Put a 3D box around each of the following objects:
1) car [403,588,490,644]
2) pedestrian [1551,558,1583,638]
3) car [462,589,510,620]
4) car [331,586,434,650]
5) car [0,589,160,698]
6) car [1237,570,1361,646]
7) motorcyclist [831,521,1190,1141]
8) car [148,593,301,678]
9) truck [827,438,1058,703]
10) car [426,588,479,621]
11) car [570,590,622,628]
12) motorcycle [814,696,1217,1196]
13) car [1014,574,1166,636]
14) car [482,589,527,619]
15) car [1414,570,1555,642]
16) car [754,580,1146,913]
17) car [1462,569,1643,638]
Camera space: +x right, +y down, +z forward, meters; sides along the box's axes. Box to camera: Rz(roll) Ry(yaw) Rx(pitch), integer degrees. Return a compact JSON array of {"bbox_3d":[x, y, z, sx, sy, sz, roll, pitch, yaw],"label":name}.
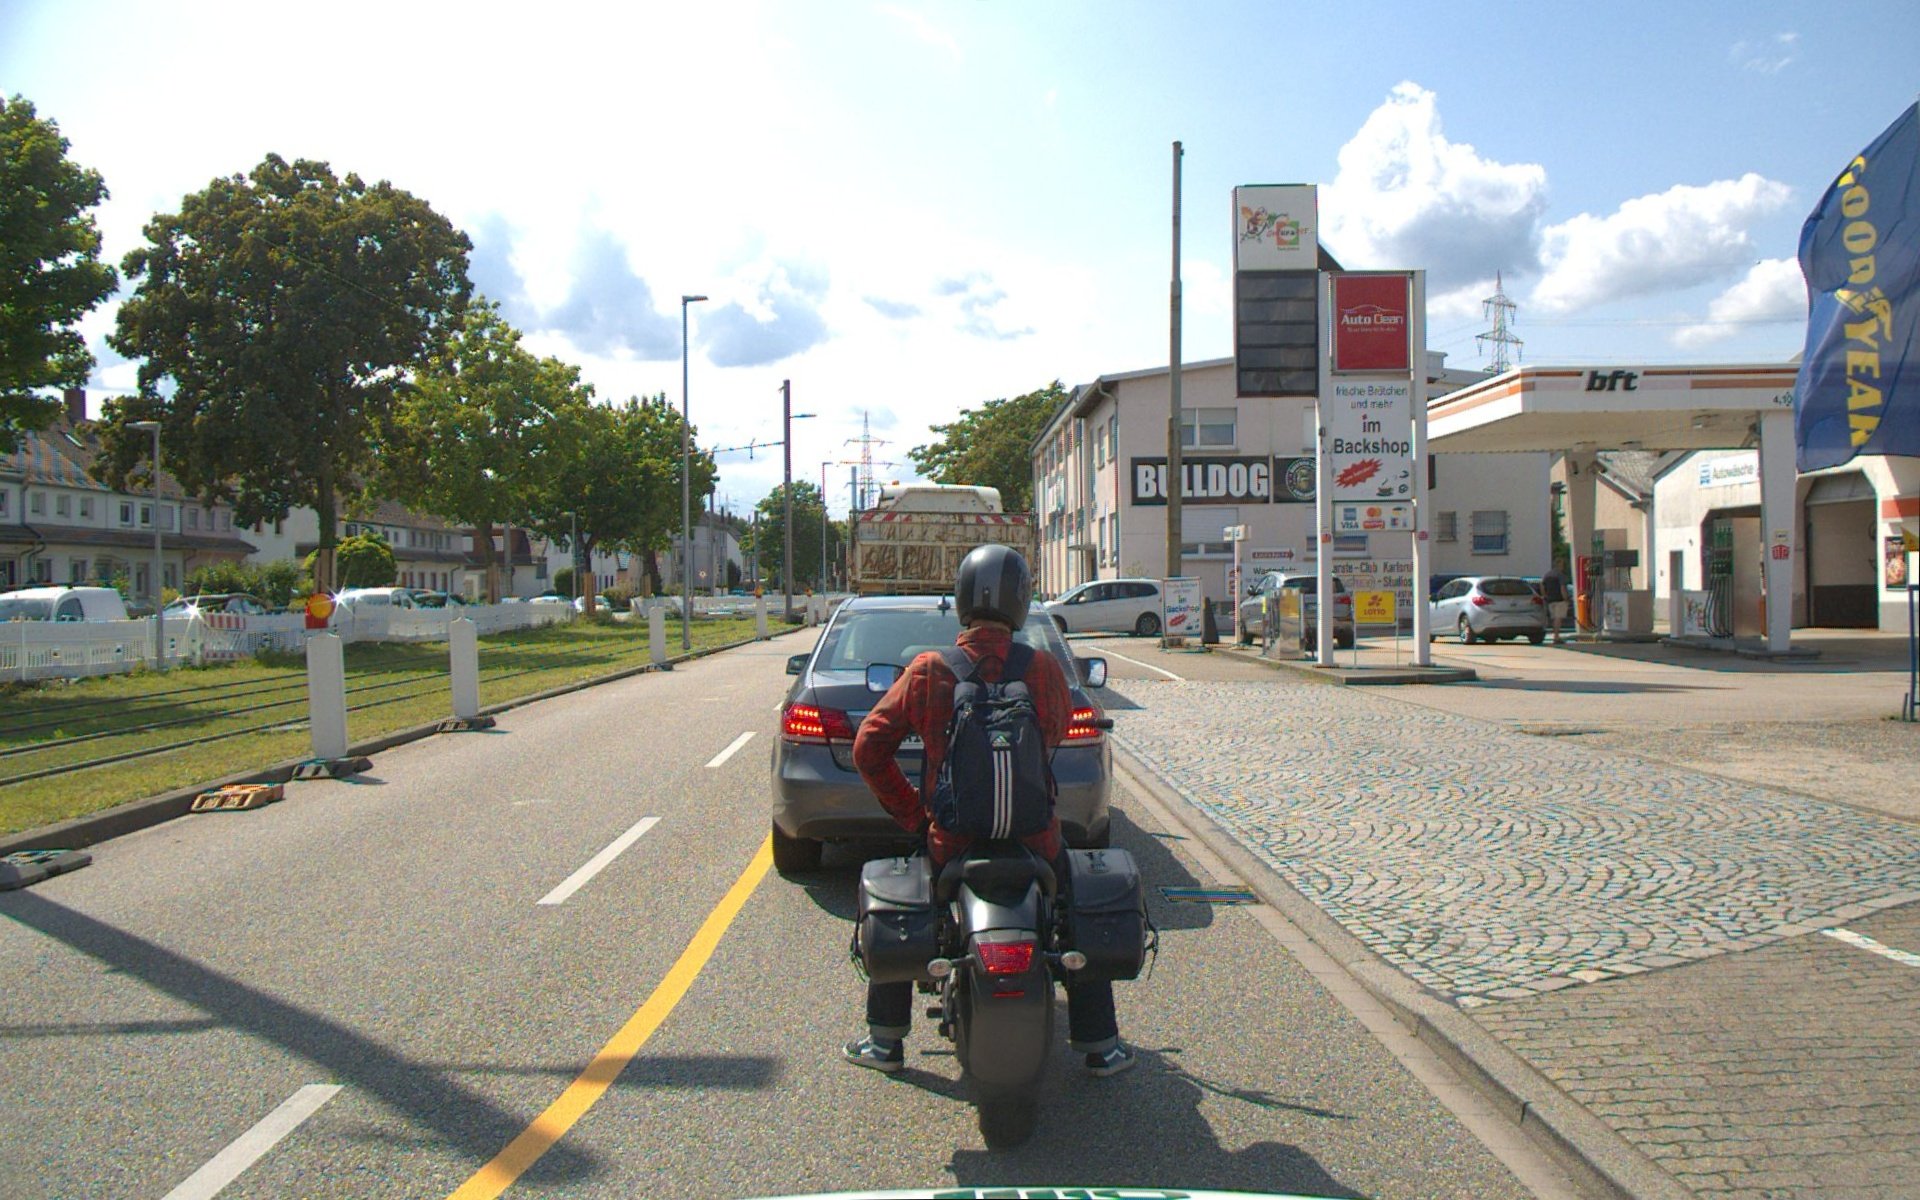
[{"bbox_3d":[-17.019,0.499,54.974,1.664,1.770,3.860,-1,0,-1],"label":"car"},{"bbox_3d":[13.110,-0.043,35.717,0.621,1.712,0.622,-1,0,20],"label":"pedestrian"},{"bbox_3d":[-28.059,0.262,97.925,1.664,1.770,4.061,-1,0,-1],"label":"car"},{"bbox_3d":[-16.912,0.495,48.609,1.664,1.770,3.860,-1,0,-1],"label":"car"},{"bbox_3d":[-16.417,0.745,30.287,1.664,1.849,3.860,-1,0,-1],"label":"car"},{"bbox_3d":[7.481,0.143,36.811,1.795,1.562,4.008,-1,0,-2],"label":"car"},{"bbox_3d":[0.129,0.620,5.069,0.950,1.662,1.214,1,0,-1],"label":"motorcyclist"},{"bbox_3d":[-16.672,0.759,37.711,1.664,1.770,4.053,-1,0,-1],"label":"car"},{"bbox_3d":[-0.356,-0.419,25.462,2.910,3.362,8.404,-1,0,-2],"label":"truck"},{"bbox_3d":[-28.180,0.245,91.929,1.664,1.770,4.061,-1,0,-1],"label":"car"},{"bbox_3d":[-17.445,0.407,79.457,1.664,1.770,3.860,-1,0,-1],"label":"car"},{"bbox_3d":[0.118,0.903,5.187,0.956,1.031,2.431,1,0,-1],"label":"motorcycle"},{"bbox_3d":[3.671,0.120,47.077,4.029,1.652,1.682,-1,0,-9],"label":"car"},{"bbox_3d":[-28.663,0.231,104.141,1.664,1.770,4.061,-1,0,-1],"label":"car"},{"bbox_3d":[11.773,0.105,37.413,1.795,1.505,4.008,-1,0,-2],"label":"car"},{"bbox_3d":[-0.106,0.663,9.713,1.795,1.505,4.008,-1,0,-2],"label":"car"},{"bbox_3d":[14.918,0.090,41.711,4.031,1.652,1.682,-1,0,32],"label":"car"}]
